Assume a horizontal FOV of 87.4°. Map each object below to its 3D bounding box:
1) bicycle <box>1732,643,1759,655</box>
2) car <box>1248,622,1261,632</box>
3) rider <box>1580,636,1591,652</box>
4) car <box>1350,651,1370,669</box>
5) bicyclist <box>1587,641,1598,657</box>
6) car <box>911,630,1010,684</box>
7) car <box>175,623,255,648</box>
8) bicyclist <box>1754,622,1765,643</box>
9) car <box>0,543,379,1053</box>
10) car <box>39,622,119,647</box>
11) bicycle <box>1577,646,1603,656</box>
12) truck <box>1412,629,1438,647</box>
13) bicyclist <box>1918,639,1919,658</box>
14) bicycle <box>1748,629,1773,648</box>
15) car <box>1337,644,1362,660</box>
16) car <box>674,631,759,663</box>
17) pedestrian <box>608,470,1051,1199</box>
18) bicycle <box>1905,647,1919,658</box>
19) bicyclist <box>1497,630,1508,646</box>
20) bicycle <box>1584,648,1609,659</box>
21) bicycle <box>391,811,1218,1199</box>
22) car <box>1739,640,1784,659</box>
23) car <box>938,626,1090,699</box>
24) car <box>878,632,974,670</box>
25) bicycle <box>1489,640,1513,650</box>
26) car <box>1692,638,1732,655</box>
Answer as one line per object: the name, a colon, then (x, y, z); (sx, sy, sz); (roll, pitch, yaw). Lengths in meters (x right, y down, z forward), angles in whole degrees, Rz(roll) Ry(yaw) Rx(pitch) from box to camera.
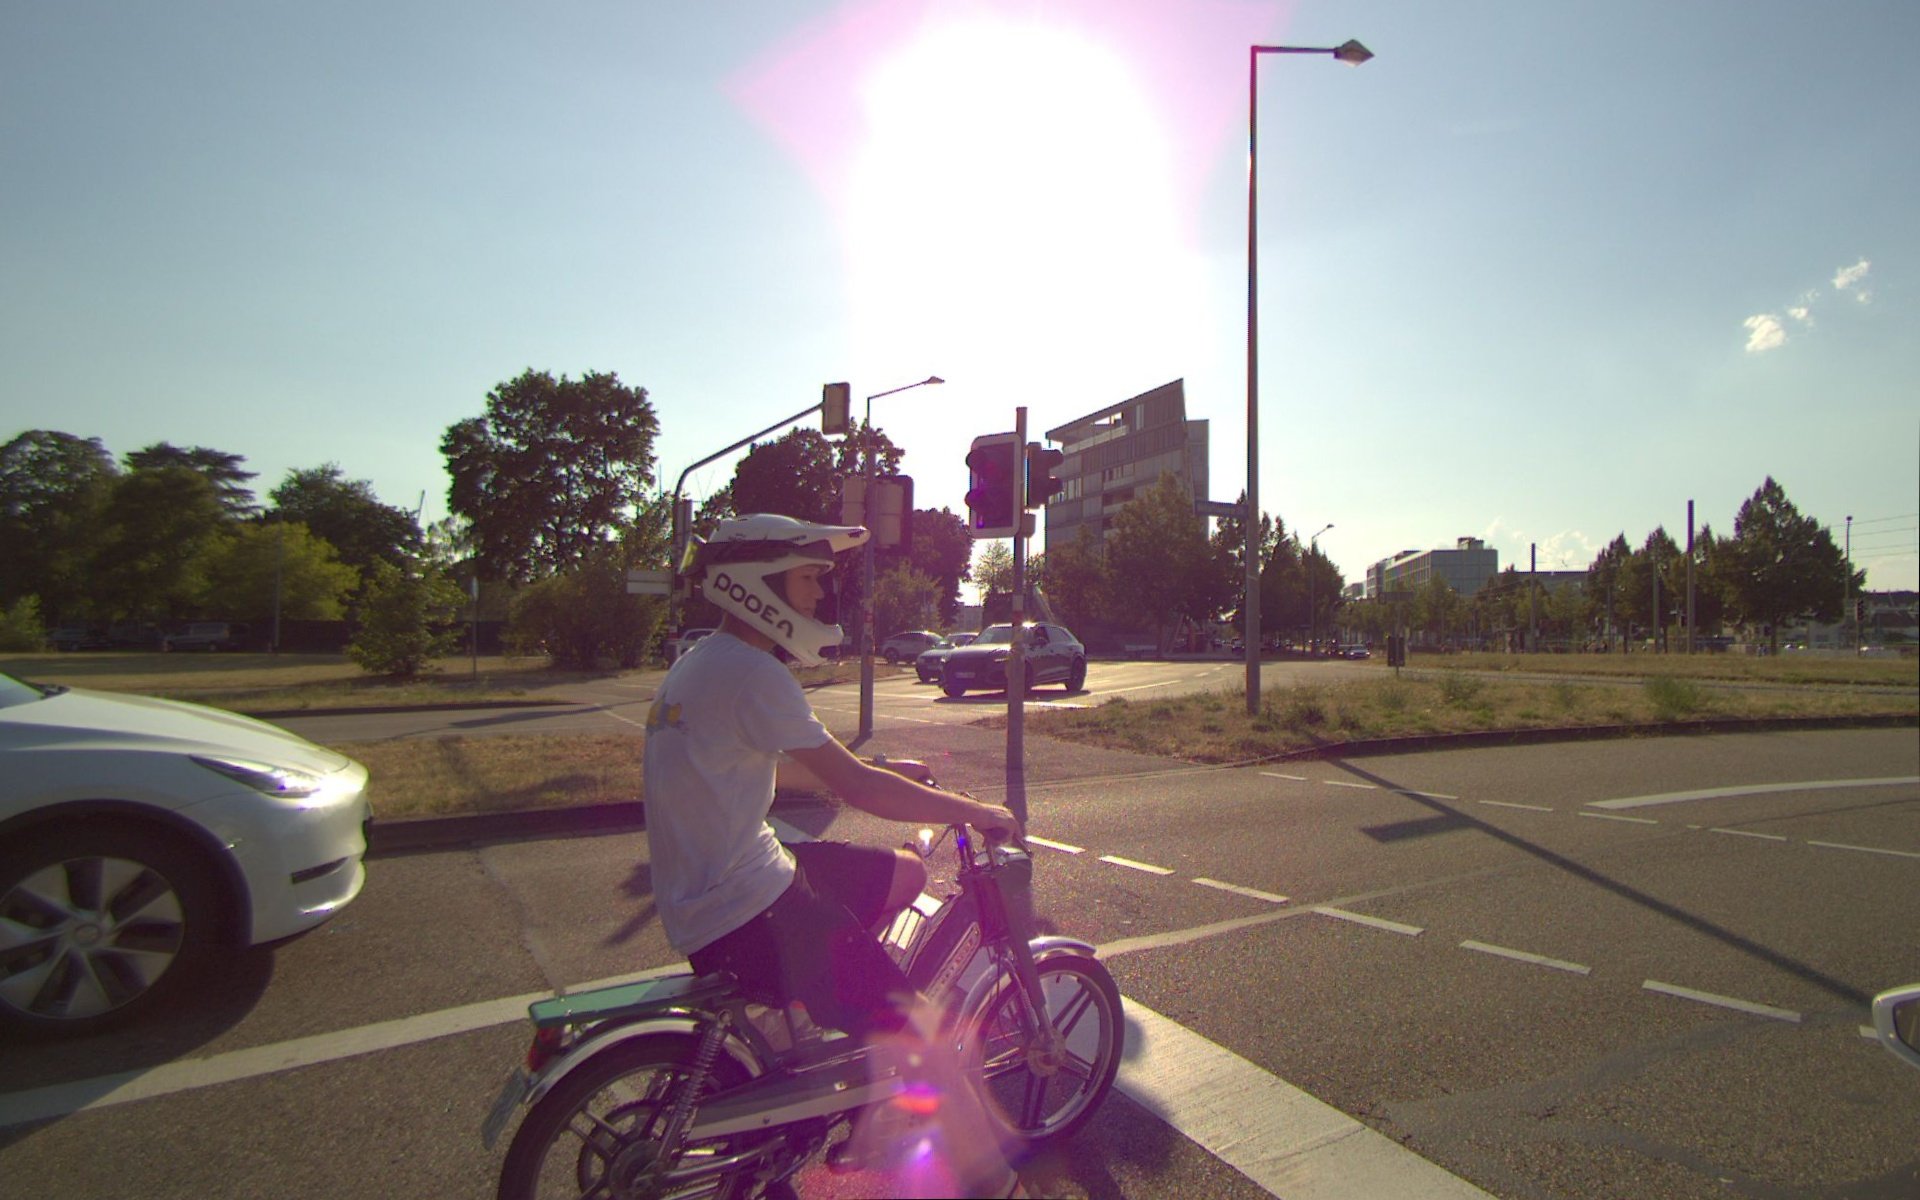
bicycle: (60.772, 3.810, 77.707); (1.592, 0.871, 0.543); (-1, -2, 35)
car: (46.994, 4.296, 160.180); (1.753, 1.576, 4.002); (2, 0, 14)
rider: (54.526, 3.846, 87.566); (0.641, 1.343, 0.688); (0, -1, 14)
car: (36.618, 5.462, 91.949); (1.455, 1.495, 3.301); (0, -2, 17)
bicyclist: (51.250, 3.972, 81.395); (0.641, 1.343, 0.519); (0, -1, 14)
car: (0.078, 1.693, 30.671); (1.621, 1.532, 3.826); (-1, -2, 24)
car: (-47.254, 2.232, 63.724); (4.312, 1.545, 1.657); (0, -2, 13)
bicyclist: (62.288, 2.535, 78.298); (0.598, 1.694, 0.477); (0, -2, 31)
car: (-4.579, 0.599, 3.168); (4.630, 1.620, 1.724); (2, -1, -35)
car: (-57.195, 2.244, 65.252); (4.312, 1.545, 1.657); (0, -2, 13)
bicycle: (51.066, 4.152, 81.433); (1.687, 0.754, 0.481); (0, -2, 14)
truck: (85.734, 7.028, 185.455); (3.074, 3.273, 7.178); (0, -2, 14)
bicyclist: (71.972, 3.638, 74.781); (0.520, 1.415, 0.892); (1, -2, -35)
bicycle: (62.335, 2.978, 78.224); (1.518, 1.493, 0.478); (-1, -2, 33)
car: (38.343, 5.107, 99.011); (1.960, 1.495, 4.002); (0, -2, 17)
car: (-12.273, 2.342, 50.690); (3.864, 1.545, 1.657); (0, -2, 13)
pedestrian: (-0.318, 0.544, 2.357); (0.844, 1.539, 0.653); (1, -2, -30)
bicycle: (71.892, 3.912, 74.952); (0.426, 0.836, 1.975); (1, -2, -34)
bicyclist: (45.343, 3.153, 83.977); (0.641, 1.343, 0.519); (0, -1, 14)
bicycle: (52.634, 4.402, 83.064); (1.586, 0.871, 0.546); (0, -2, 12)
bicycle: (-0.249, 1.045, 2.304); (1.834, 0.887, 0.475); (1, -2, -31)
car: (88.319, 5.442, 110.802); (1.960, 2.040, 4.002); (0, -2, 5)
car: (1.395, 1.408, 23.576); (1.624, 1.532, 4.635); (-2, -3, 30)
car: (-1.571, 2.338, 46.843); (4.118, 1.695, 1.776); (0, -2, 22)
bicycle: (45.239, 3.771, 83.994); (1.687, 0.754, 0.481); (0, -2, 14)
car: (89.242, 5.508, 119.282); (1.960, 2.040, 4.002); (0, -2, 5)
